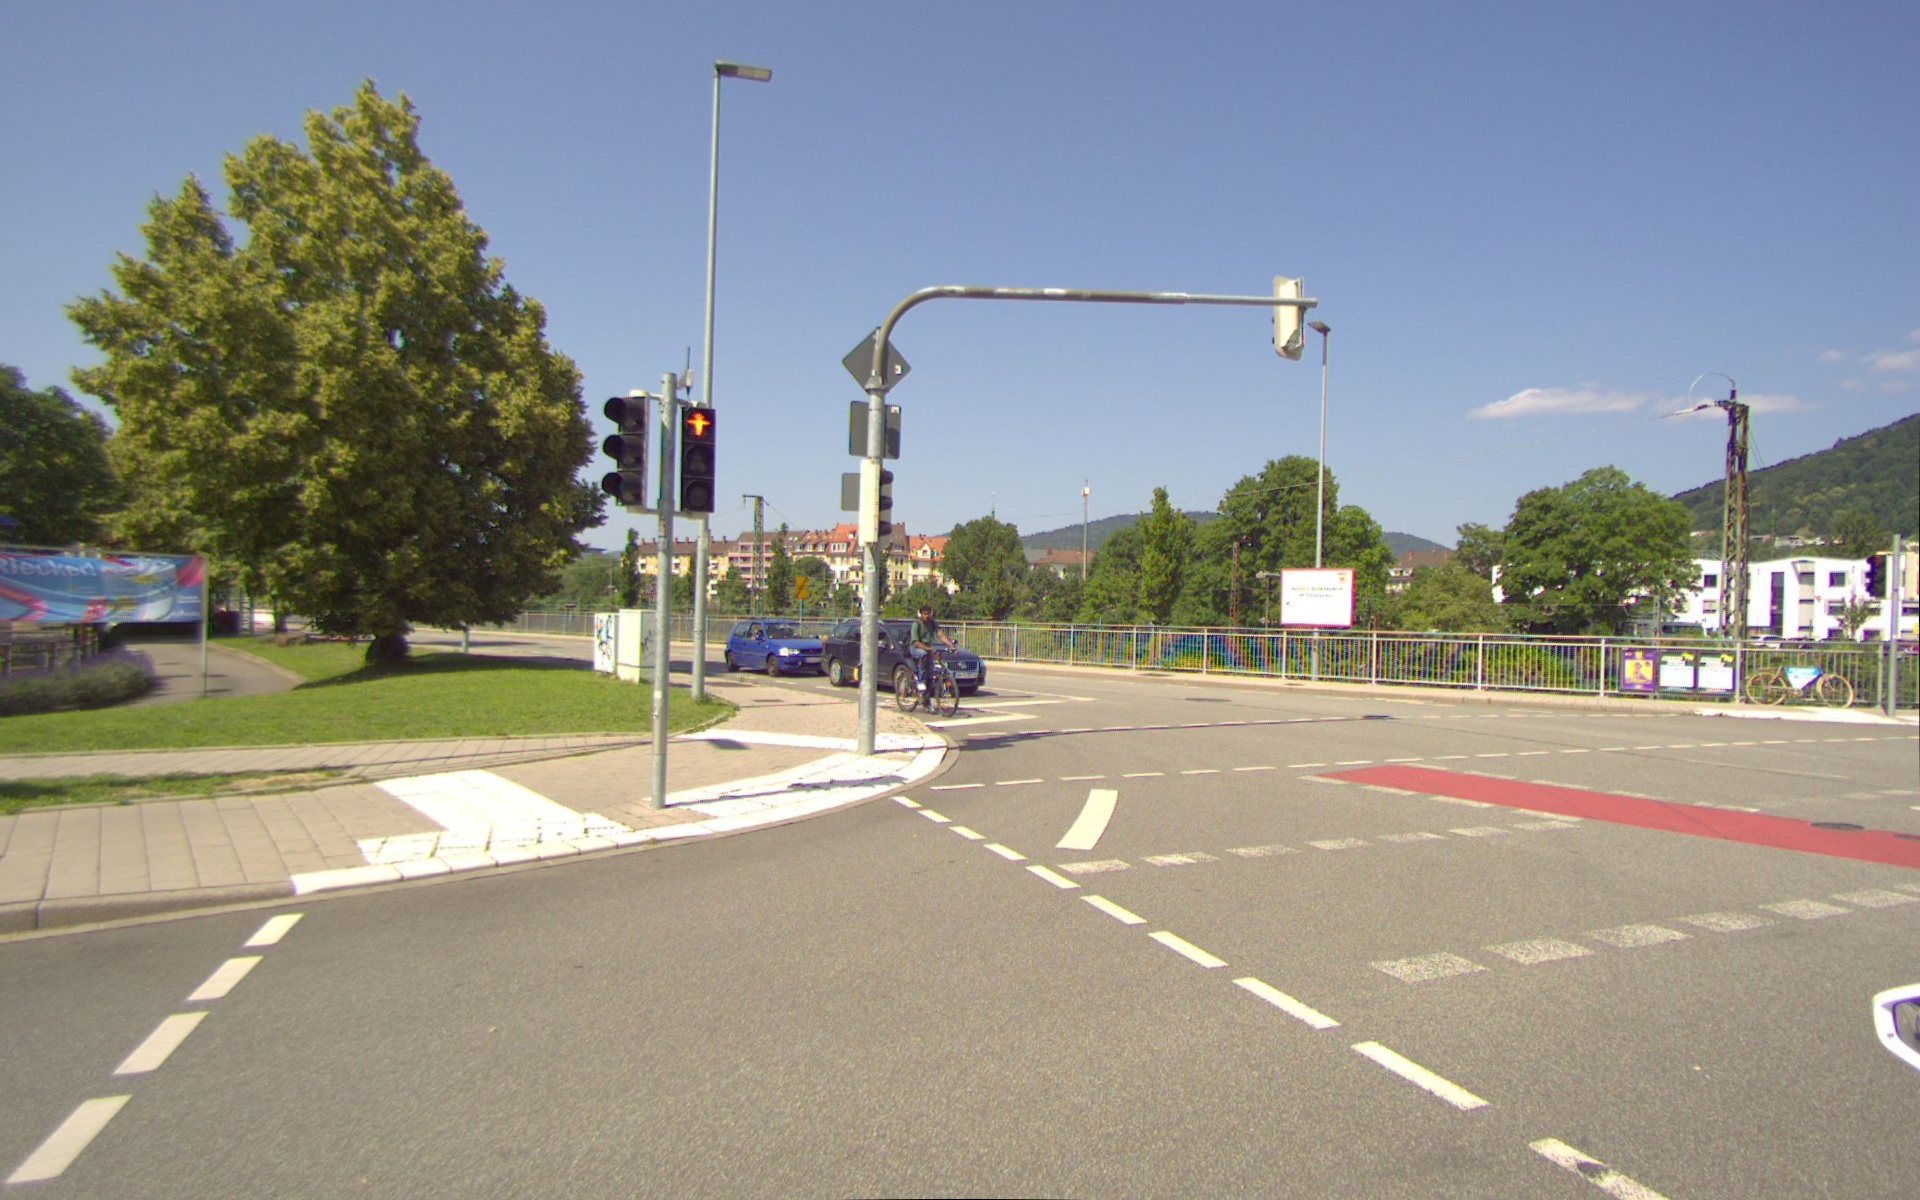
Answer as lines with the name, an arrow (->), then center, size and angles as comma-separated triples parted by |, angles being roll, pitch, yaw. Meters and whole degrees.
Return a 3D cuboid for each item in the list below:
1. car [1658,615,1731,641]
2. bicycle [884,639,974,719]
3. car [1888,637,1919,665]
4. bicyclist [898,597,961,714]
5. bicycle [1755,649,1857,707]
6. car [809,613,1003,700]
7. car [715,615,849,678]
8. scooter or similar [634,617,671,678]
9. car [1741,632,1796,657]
car -> 64.989, 2.443, 88.934 | 1.984, 2.141, 4.931 | 1, 0, -41
bicycle -> -0.525, 1.242, 16.241 | 0.691, 1.119, 1.740 | -1, 1, -31
car -> 74.480, 3.942, 78.037 | 4.409, 2.040, 1.988 | 1, 0, -24
bicyclist -> -0.493, 0.863, 16.175 | 0.705, 1.813, 0.801 | 0, 1, -33
bicycle -> 17.365, 1.595, 20.637 | 1.588, 1.115, 0.298 | 1, 0, 17
car -> -1.260, 1.098, 21.160 | 1.769, 1.516, 4.672 | 1, 0, -37
car -> -4.650, 1.133, 25.839 | 1.648, 1.399, 3.954 | 1, 0, -39
scooter or similar -> -6.383, 0.969, 20.811 | 0.467, 1.200, 1.355 | 1, 0, -28
car -> 71.594, 3.928, 88.961 | 4.409, 2.040, 1.988 | 1, 0, -24
